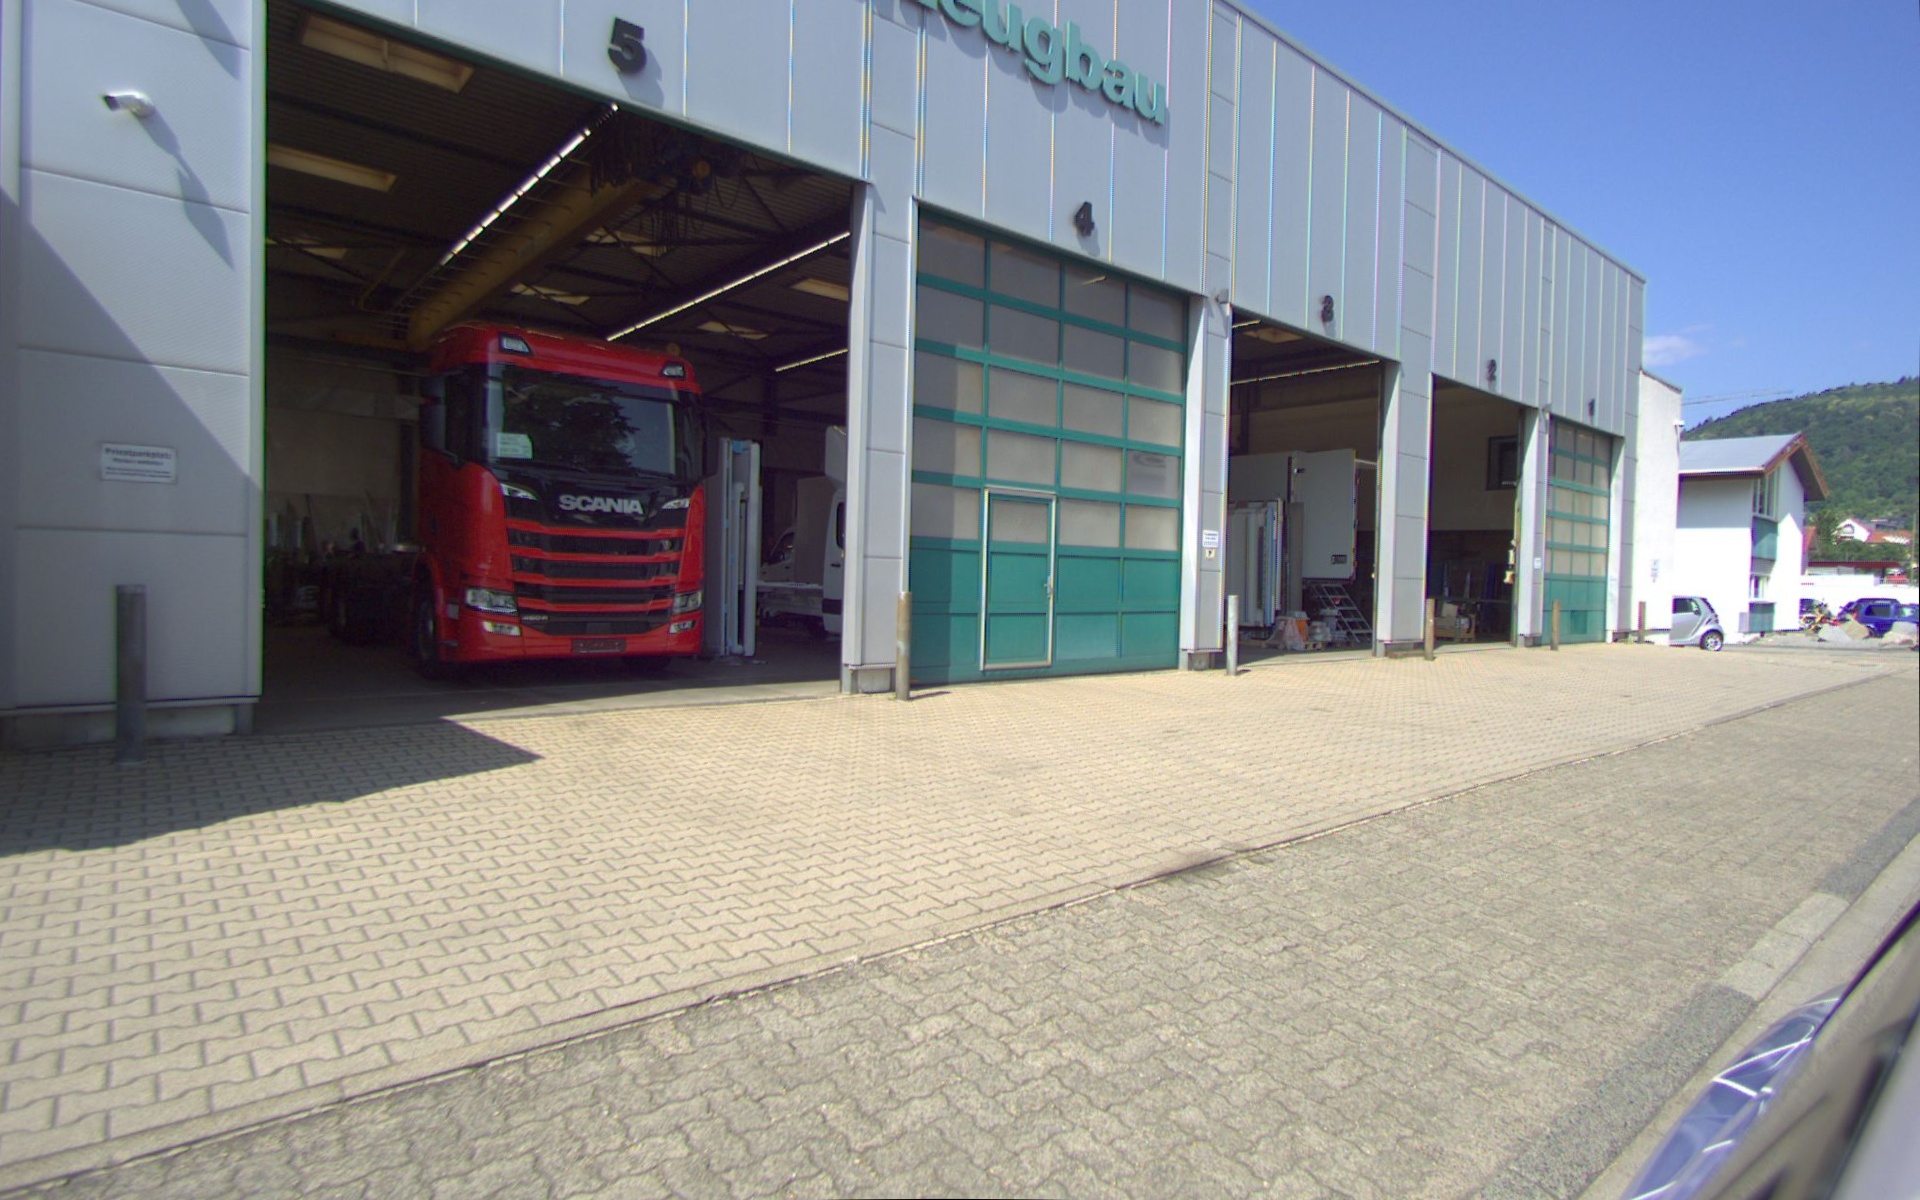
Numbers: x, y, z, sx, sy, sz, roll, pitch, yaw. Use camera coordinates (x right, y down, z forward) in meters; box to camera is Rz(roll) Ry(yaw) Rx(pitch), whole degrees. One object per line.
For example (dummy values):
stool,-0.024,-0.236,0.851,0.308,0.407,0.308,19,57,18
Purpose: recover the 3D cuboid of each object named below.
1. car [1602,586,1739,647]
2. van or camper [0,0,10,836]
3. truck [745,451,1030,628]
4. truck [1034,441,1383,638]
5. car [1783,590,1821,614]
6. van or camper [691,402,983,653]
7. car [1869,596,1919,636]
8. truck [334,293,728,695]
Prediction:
car,19.576,0.438,27.967,2.772,1.553,1.312,2,0,3
van or camper,-8.873,-1.186,6.767,11.595,3.738,2.739,3,2,42
truck,-2.002,-1.384,23.888,2.720,3.501,7.570,0,2,-40
truck,5.390,-1.360,23.579,2.577,3.828,7.856,0,2,-39
car,51.322,0.089,61.682,3.134,1.396,1.449,-1,0,-44
van or camper,-2.091,-1.030,15.657,1.966,3.245,5.051,0,2,-41
car,33.569,0.533,35.023,1.427,1.357,2.974,-1,0,-39
truck,-5.801,-1.097,12.578,2.435,3.446,7.972,0,3,-39
